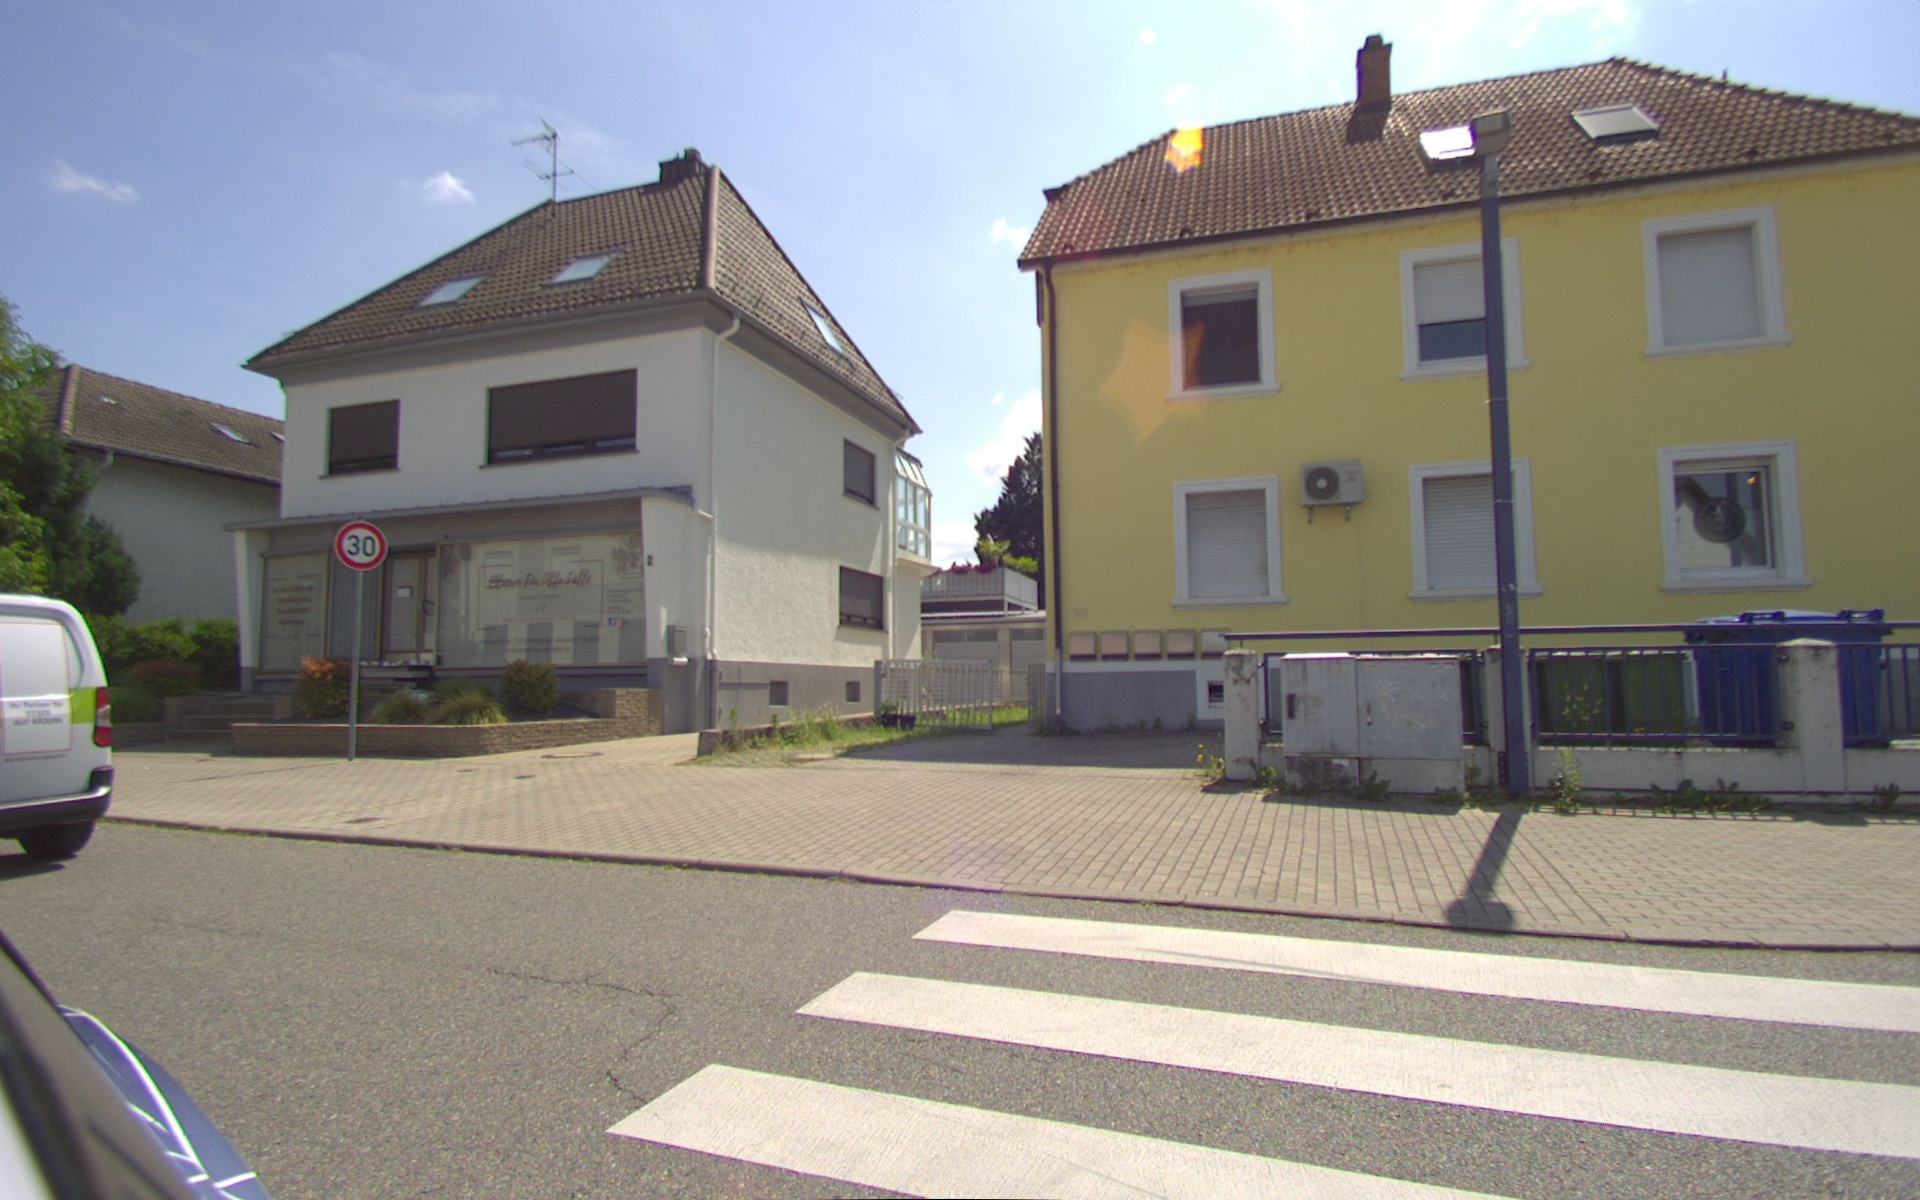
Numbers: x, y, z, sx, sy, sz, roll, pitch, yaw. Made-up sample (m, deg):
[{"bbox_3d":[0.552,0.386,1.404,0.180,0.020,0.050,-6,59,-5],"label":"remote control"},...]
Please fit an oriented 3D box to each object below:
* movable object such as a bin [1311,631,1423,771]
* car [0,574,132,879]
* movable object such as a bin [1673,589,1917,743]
[{"bbox_3d":[3.822,0.938,9.564,0.896,1.235,0.881,-2,-4,21],"label":"movable object such as a bin"},{"bbox_3d":[-8.089,0.817,6.839,4.526,1.869,1.805,-1,-4,21],"label":"car"},{"bbox_3d":[6.996,0.560,8.559,1.261,1.223,0.840,-1,-4,7],"label":"movable object such as a bin"}]
